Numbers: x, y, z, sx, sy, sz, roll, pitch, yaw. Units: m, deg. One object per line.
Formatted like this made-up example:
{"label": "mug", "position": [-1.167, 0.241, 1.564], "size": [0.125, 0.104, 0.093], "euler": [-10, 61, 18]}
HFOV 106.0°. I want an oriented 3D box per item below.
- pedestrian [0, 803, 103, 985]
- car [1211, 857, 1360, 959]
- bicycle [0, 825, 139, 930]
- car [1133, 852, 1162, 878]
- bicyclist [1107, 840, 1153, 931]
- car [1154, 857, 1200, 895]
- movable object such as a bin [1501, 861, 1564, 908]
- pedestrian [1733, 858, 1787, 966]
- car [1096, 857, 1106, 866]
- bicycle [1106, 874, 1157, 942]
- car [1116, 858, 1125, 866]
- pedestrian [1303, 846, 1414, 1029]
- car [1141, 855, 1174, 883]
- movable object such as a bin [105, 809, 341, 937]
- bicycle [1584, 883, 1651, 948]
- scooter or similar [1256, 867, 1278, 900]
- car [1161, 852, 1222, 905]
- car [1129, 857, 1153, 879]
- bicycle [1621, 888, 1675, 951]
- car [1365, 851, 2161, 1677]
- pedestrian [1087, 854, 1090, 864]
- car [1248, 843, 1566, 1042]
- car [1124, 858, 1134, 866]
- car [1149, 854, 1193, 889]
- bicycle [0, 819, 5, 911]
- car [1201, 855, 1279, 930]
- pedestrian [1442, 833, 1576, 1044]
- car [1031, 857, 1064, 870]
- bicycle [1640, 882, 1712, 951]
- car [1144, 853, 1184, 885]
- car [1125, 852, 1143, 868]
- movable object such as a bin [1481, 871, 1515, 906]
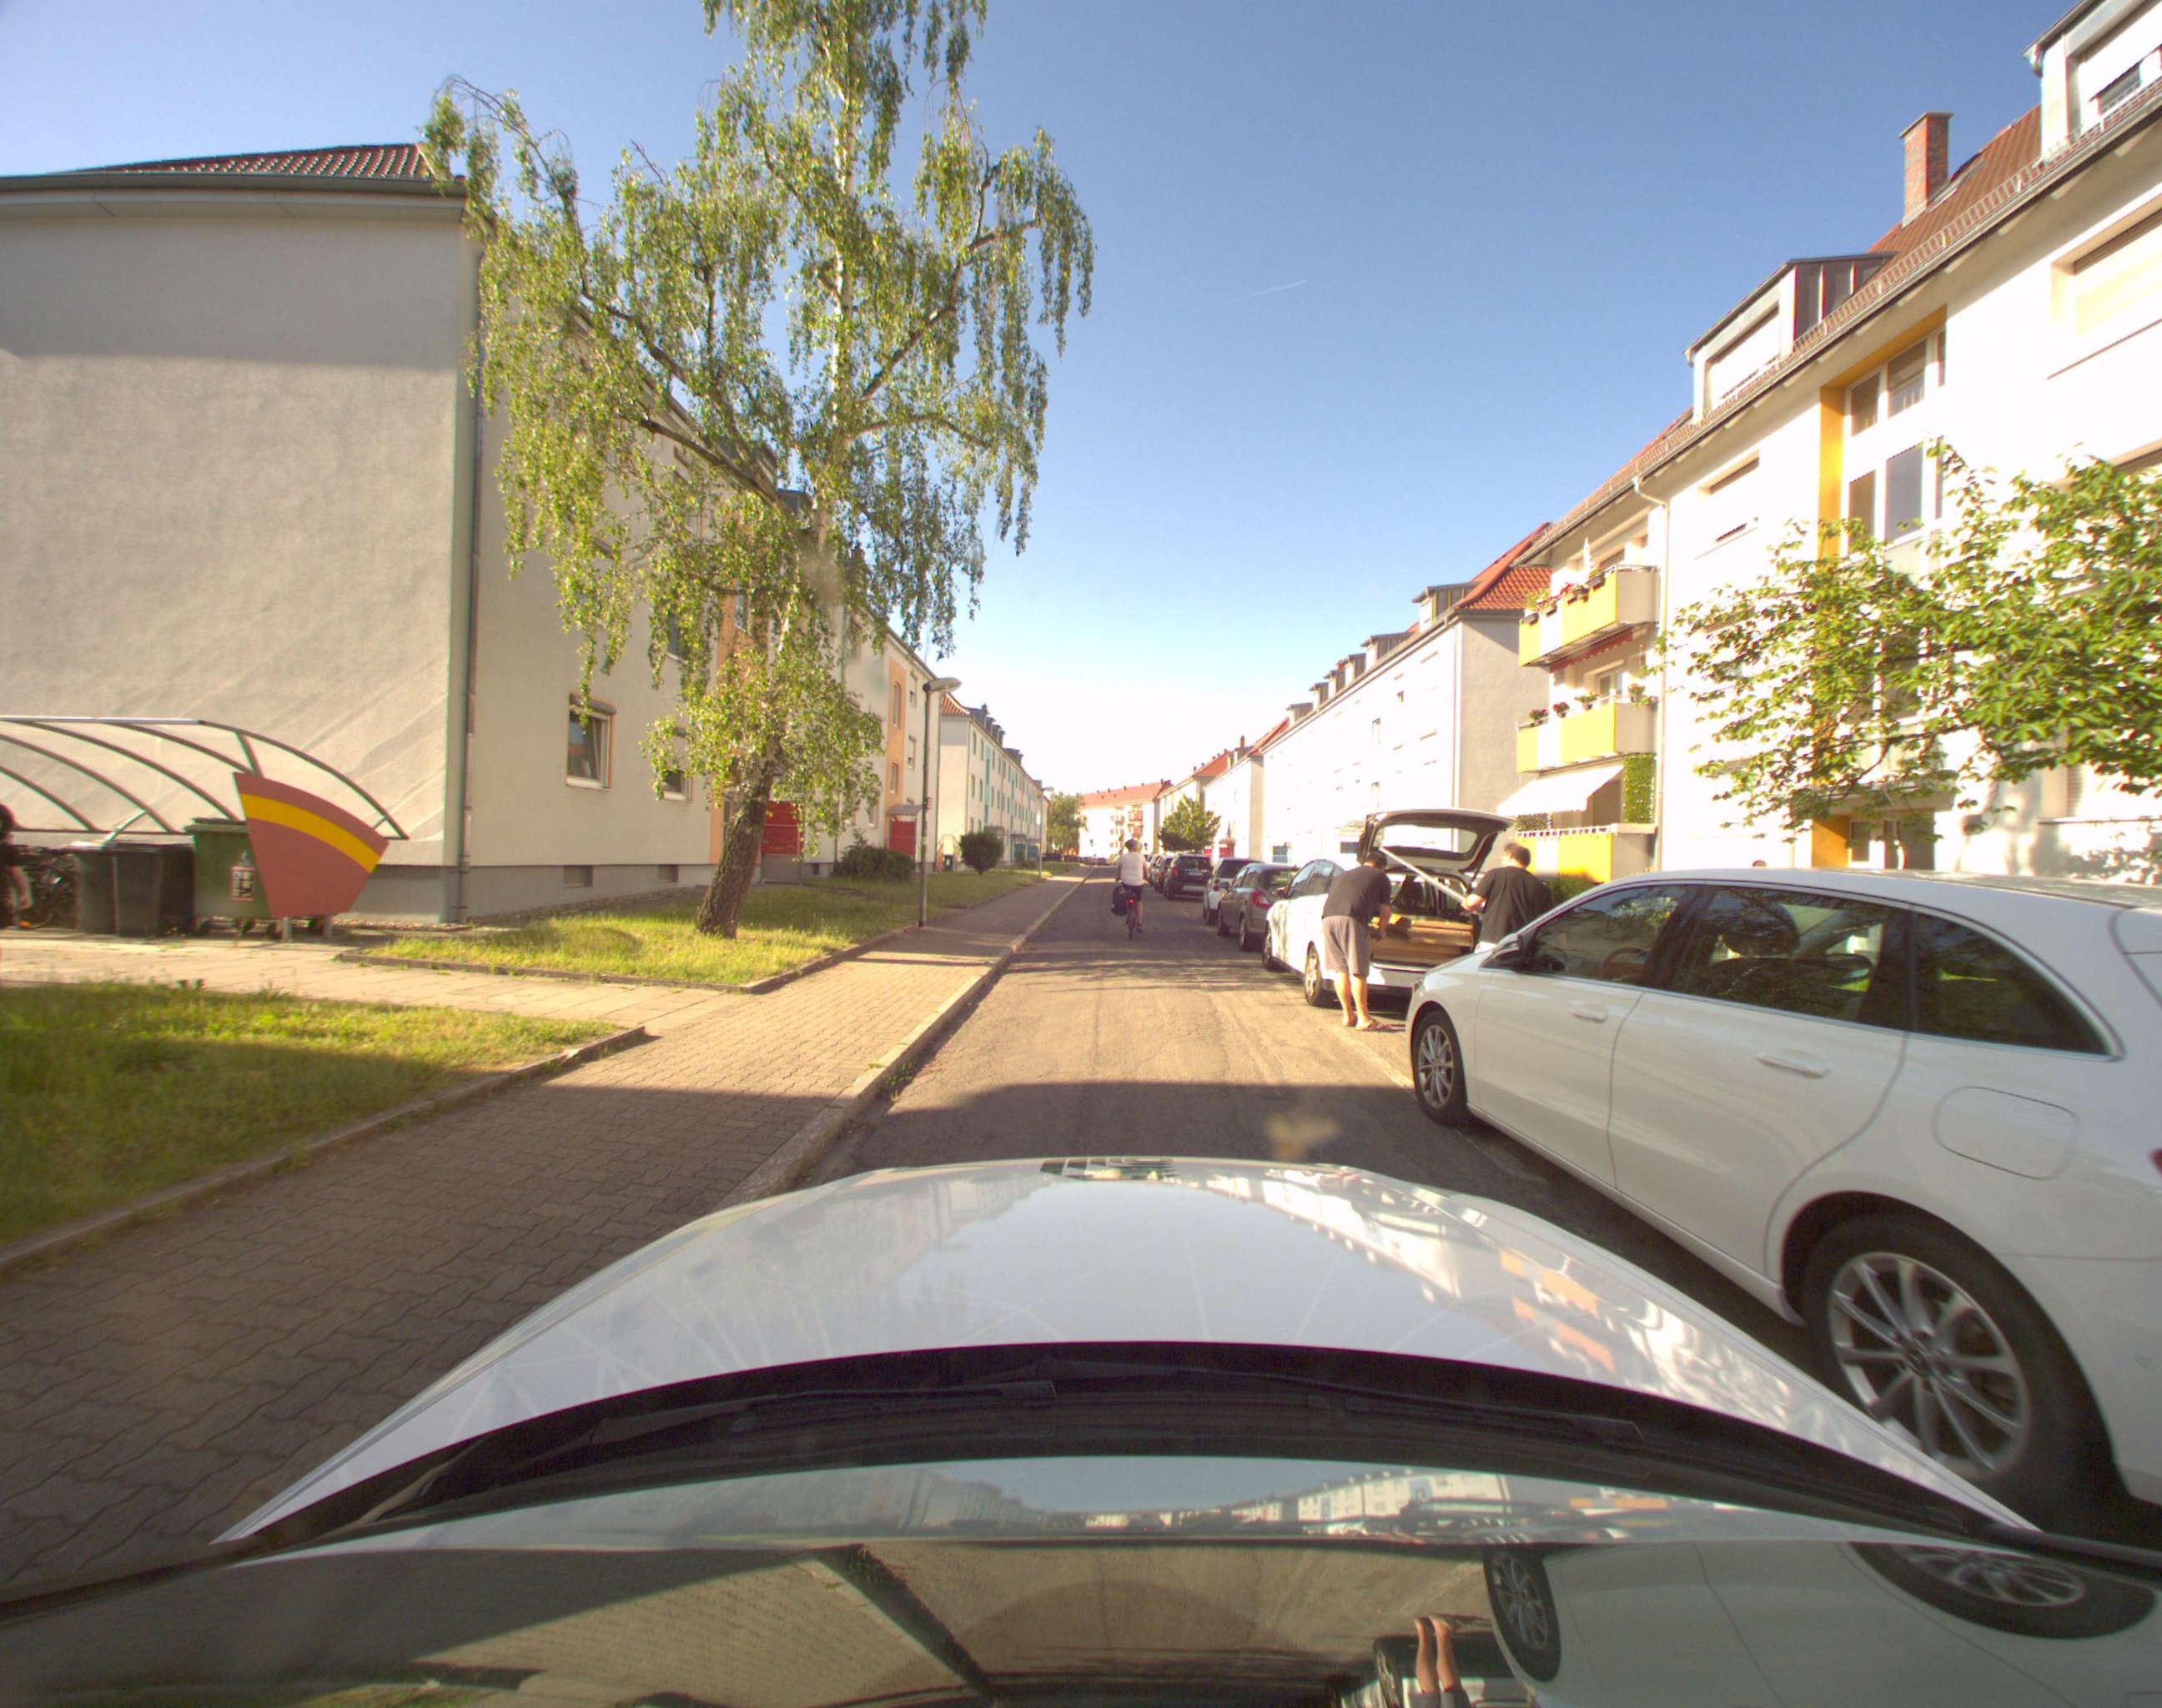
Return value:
{"label": "pedestrian", "position": [-8.165, 0.289, 6.207], "size": [0.683, 1.317, 0.576], "euler": [1, -1, 2]}
{"label": "car", "position": [3.516, 0.854, 14.715], "size": [1.687, 1.491, 3.985], "euler": [3, 0, 1]}
{"label": "bicycle", "position": [-11.855, 0.250, 9.050], "size": [0.530, 1.117, 1.850], "euler": [2, 0, 2]}
{"label": "car", "position": [4.776, 0.775, 58.862], "size": [1.855, 1.668, 4.129], "euler": [3, 0, 2]}
{"label": "bicyclist", "position": [0.901, 0.572, 15.208], "size": [0.806, 1.643, 0.899], "euler": [1, -1, -1]}
{"label": "car", "position": [4.007, 0.874, 34.467], "size": [1.635, 1.498, 4.159], "euler": [1, 0, 3]}
{"label": "movable object such as a bin", "position": [13.790, 0.942, 24.904], "size": [1.323, 1.407, 1.107], "euler": [0, -3, 2]}
{"label": "pedestrian", "position": [9.591, 0.805, 11.506], "size": [0.449, 1.495, 0.360], "euler": [1, -2, 2]}
{"label": "car", "position": [3.118, 1.134, 126.385], "size": [1.464, 1.335, 3.140], "euler": [0, 0, 0]}
{"label": "bicycle", "position": [0.908, 0.962, 15.183], "size": [0.806, 1.128, 2.101], "euler": [1, 0, 0]}
{"label": "car", "position": [6.922, 1.412, 142.405], "size": [1.377, 1.497, 3.076], "euler": [0, 0, 0]}
{"label": "pedestrian", "position": [2.511, 0.722, 7.458], "size": [0.737, 1.575, 0.880], "euler": [0, 0, 1]}
{"label": "car", "position": [4.763, 0.916, 51.327], "size": [1.706, 1.595, 4.399], "euler": [4, 0, 2]}
{"label": "movable object such as a bin", "position": [-9.965, 0.208, 9.543], "size": [1.382, 1.336, 1.228], "euler": [3, 0, 1]}
{"label": "bicycle", "position": [9.695, 1.090, 14.761], "size": [0.401, 1.087, 1.300], "euler": [0, 0, 3]}
{"label": "scooter or similar", "position": [6.844, 1.066, 29.981], "size": [0.481, 1.149, 1.590], "euler": [-2, 0, 3]}
{"label": "car", "position": [3.898, 0.819, 29.369], "size": [1.776, 1.648, 4.472], "euler": [3, 0, 3]}
{"label": "car", "position": [5.065, 1.180, 69.576], "size": [1.695, 1.671, 4.379], "euler": [3, 0, 0]}
{"label": "bicycle", "position": [9.636, 1.106, 13.852], "size": [0.737, 1.047, 0.239], "euler": [0, 0, 4]}
{"label": "car", "position": [2.887, 0.789, 3.479], "size": [1.766, 1.505, 4.480], "euler": [2, 0, 0]}
{"label": "pedestrian", "position": [1.075, 0.731, 122.503], "size": [0.432, 1.574, 0.543], "euler": [0, 0, 2]}
{"label": "car", "position": [3.346, 0.774, 9.596], "size": [1.985, 1.613, 5.000], "euler": [3, 0, 4]}
{"label": "car", "position": [7.979, 1.325, 135.687], "size": [1.464, 1.335, 3.140], "euler": [0, 0, 0]}
{"label": "car", "position": [4.381, 0.807, 40.069], "size": [1.684, 1.575, 4.435], "euler": [3, 0, 1]}
{"label": "bicycle", "position": [-13.858, 0.136, 9.389], "size": [0.428, 1.154, 1.836], "euler": [0, 0, 2]}
{"label": "car", "position": [3.683, 0.846, 19.189], "size": [1.472, 1.529, 2.945], "euler": [3, 0, 6]}
{"label": "pedestrian", "position": [3.565, 0.673, 6.830], "size": [0.816, 1.687, 0.604], "euler": [0, 0, 1]}
{"label": "car", "position": [-4.419, 1.214, 107.442], "size": [4.220, 1.638, 1.581], "euler": [1, 0, -2]}
{"label": "bicycle", "position": [10.584, 1.091, 14.522], "size": [0.401, 1.132, 1.274], "euler": [1, 0, 3]}
{"label": "car", "position": [4.637, 0.797, 46.120], "size": [1.745, 1.617, 4.451], "euler": [4, 0, 0]}
{"label": "car", "position": [6.049, 0.711, 93.087], "size": [1.669, 1.739, 3.942], "euler": [2, 0, 0]}
{"label": "movable object such as a bin", "position": [12.800, 1.060, 25.008], "size": [0.640, 1.035, 0.757], "euler": [0, -3, 2]}
